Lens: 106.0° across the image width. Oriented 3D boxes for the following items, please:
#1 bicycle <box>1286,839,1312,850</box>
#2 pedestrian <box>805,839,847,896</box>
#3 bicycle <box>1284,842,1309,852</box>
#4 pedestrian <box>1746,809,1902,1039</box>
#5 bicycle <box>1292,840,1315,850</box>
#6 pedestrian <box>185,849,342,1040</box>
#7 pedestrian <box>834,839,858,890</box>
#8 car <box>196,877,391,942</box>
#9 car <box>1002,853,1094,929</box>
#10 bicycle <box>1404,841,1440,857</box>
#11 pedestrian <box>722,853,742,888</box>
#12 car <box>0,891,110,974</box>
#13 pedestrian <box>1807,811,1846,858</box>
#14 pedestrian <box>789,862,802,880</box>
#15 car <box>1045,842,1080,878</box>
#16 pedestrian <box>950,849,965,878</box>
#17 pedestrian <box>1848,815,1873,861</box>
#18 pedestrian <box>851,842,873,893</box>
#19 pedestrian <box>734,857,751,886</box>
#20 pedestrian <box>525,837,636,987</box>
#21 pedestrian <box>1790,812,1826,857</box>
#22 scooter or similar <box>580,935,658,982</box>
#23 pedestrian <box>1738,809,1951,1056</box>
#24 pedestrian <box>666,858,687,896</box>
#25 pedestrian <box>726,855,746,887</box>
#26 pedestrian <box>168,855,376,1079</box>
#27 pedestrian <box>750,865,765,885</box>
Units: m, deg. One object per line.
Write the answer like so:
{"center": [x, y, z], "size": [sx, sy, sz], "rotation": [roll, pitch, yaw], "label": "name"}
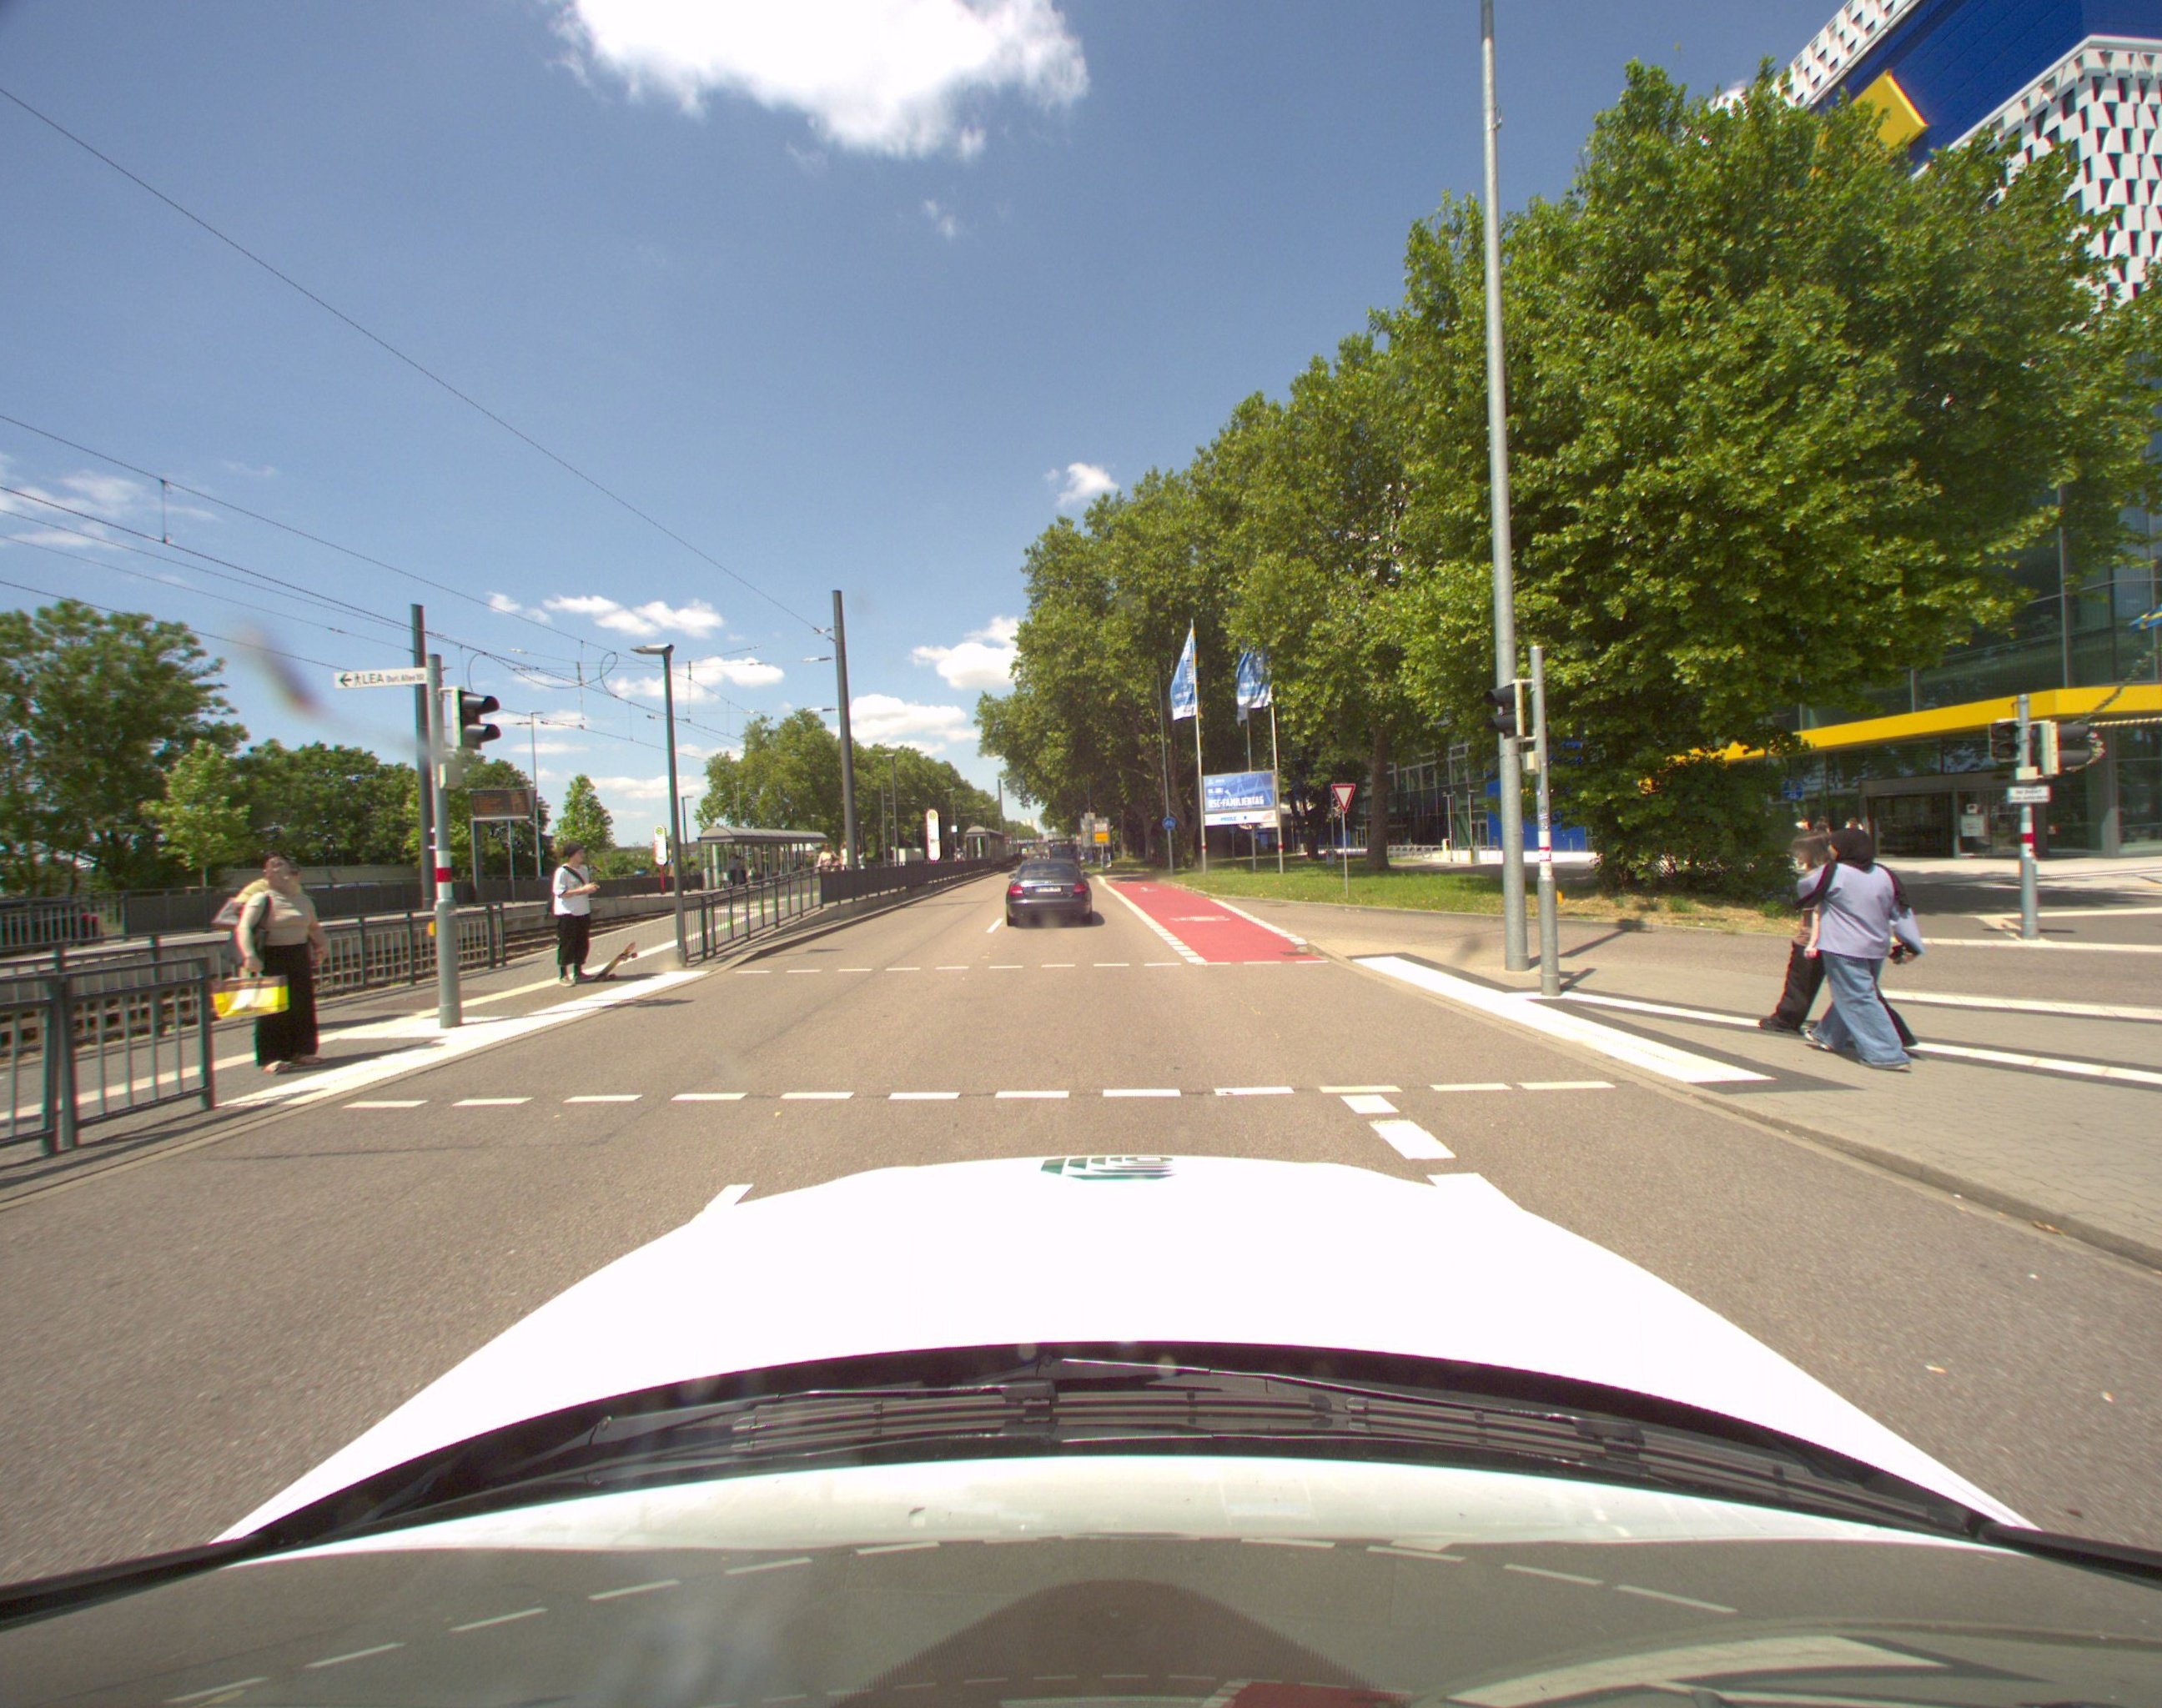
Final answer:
{"center": [23.902, -0.997, 89.316], "size": [2.542, 1.110, 0.757], "rotation": [-2, 0, -7], "label": "bicycle"}
{"center": [-7.394, 0.382, 23.672], "size": [0.888, 1.605, 0.923], "rotation": [-2, 0, -3], "label": "pedestrian"}
{"center": [23.907, -0.770, 90.349], "size": [2.542, 1.110, 0.757], "rotation": [-2, 0, -7], "label": "bicycle"}
{"center": [5.785, 0.515, 6.386], "size": [0.618, 1.683, 0.729], "rotation": [-2, 0, 16], "label": "pedestrian"}
{"center": [24.099, -1.007, 88.287], "size": [2.313, 0.960, 0.757], "rotation": [-2, 0, -6], "label": "bicycle"}
{"center": [-7.571, 0.802, 7.574], "size": [0.731, 1.673, 0.677], "rotation": [-2, 0, -5], "label": "pedestrian"}
{"center": [-7.894, 0.336, 27.382], "size": [0.612, 1.681, 0.719], "rotation": [-1, 0, -3], "label": "pedestrian"}
{"center": [-23.649, 1.606, 24.715], "size": [1.987, 1.629, 3.999], "rotation": [-1, 0, 0], "label": "car"}
{"center": [-0.762, 0.749, 18.491], "size": [1.838, 1.484, 3.996], "rotation": [-1, 0, -3], "label": "car"}
{"center": [23.147, -0.325, 55.340], "size": [2.057, 0.969, 0.867], "rotation": [-2, 0, -6], "label": "bicycle"}
{"center": [-17.848, 0.831, 41.627], "size": [0.729, 1.729, 0.582], "rotation": [-2, 0, 36], "label": "pedestrian"}
{"center": [-23.496, 1.716, 16.697], "size": [1.987, 1.629, 4.280], "rotation": [-2, 0, 0], "label": "car"}
{"center": [28.065, -0.717, 30.655], "size": [0.776, 1.735, 0.743], "rotation": [-2, 0, 10], "label": "pedestrian"}
{"center": [-18.648, 1.104, 53.274], "size": [0.575, 1.190, 0.639], "rotation": [-2, 0, -1], "label": "pedestrian"}
{"center": [-1.012, 0.319, 47.342], "size": [1.842, 1.959, 4.145], "rotation": [-1, 0, 1], "label": "car"}
{"center": [-7.287, 0.553, 47.900], "size": [0.731, 1.665, 0.741], "rotation": [-2, 0, -2], "label": "pedestrian"}
{"center": [28.513, -0.576, 29.790], "size": [0.611, 1.672, 0.579], "rotation": [-1, 0, -39], "label": "pedestrian"}
{"center": [-6.992, 0.421, 25.997], "size": [0.496, 1.577, 0.556], "rotation": [-2, 0, -3], "label": "pedestrian"}
{"center": [-18.202, 0.952, 43.829], "size": [0.575, 1.533, 0.639], "rotation": [-2, 0, -1], "label": "pedestrian"}
{"center": [-6.365, 0.708, 10.412], "size": [0.861, 1.802, 0.882], "rotation": [-2, 0, -5], "label": "pedestrian"}
{"center": [29.274, -0.778, 32.795], "size": [0.775, 1.735, 0.743], "rotation": [-2, 0, 11], "label": "pedestrian"}
{"center": [-5.977, 1.345, 10.556], "size": [0.725, 0.506, 0.456], "rotation": [-2, 0, -5], "label": "scooter or similar"}
{"center": [5.396, 0.518, 5.828], "size": [0.759, 1.606, 0.900], "rotation": [-2, 0, 16], "label": "pedestrian"}
{"center": [-18.080, 1.006, 36.380], "size": [0.557, 1.638, 0.804], "rotation": [-2, 0, -9], "label": "pedestrian"}
{"center": [-18.262, 0.895, 43.057], "size": [0.817, 1.638, 0.582], "rotation": [-2, 0, 36], "label": "pedestrian"}
{"center": [-6.125, 0.809, 6.219], "size": [0.784, 1.572, 0.763], "rotation": [-2, 0, -5], "label": "pedestrian"}
{"center": [-18.154, 1.182, 45.712], "size": [0.575, 1.094, 0.639], "rotation": [-2, 0, -1], "label": "pedestrian"}
